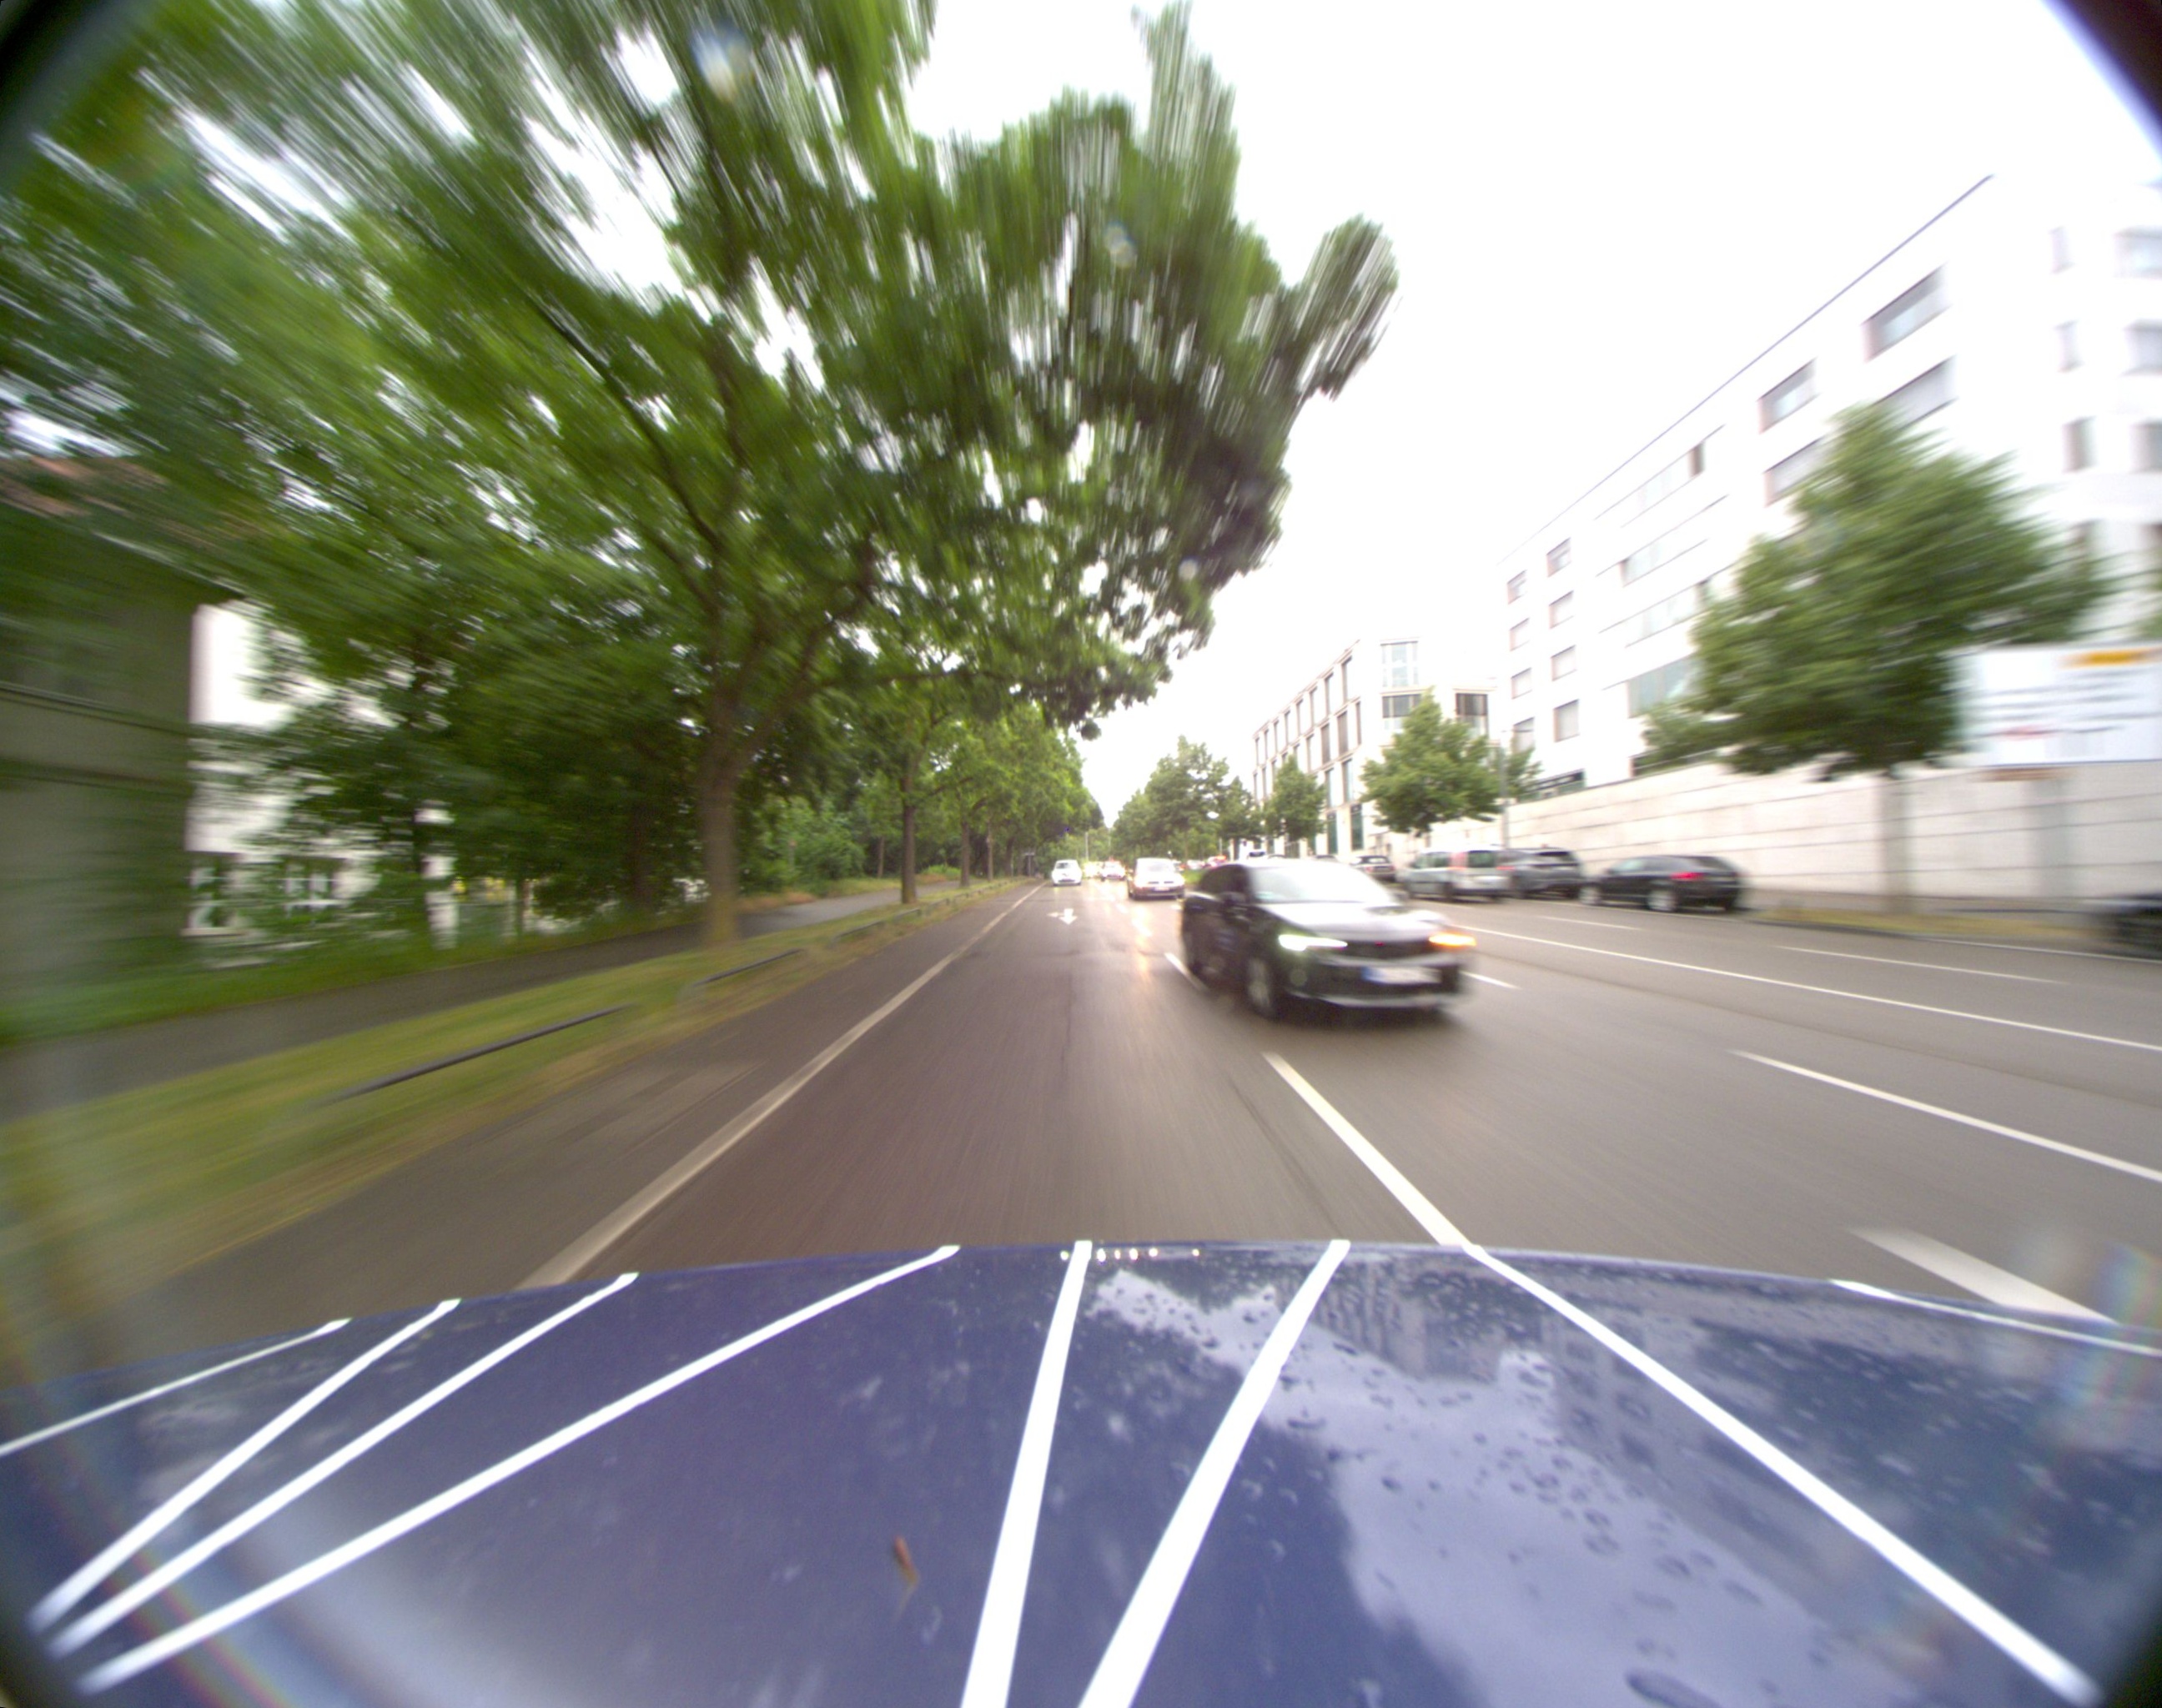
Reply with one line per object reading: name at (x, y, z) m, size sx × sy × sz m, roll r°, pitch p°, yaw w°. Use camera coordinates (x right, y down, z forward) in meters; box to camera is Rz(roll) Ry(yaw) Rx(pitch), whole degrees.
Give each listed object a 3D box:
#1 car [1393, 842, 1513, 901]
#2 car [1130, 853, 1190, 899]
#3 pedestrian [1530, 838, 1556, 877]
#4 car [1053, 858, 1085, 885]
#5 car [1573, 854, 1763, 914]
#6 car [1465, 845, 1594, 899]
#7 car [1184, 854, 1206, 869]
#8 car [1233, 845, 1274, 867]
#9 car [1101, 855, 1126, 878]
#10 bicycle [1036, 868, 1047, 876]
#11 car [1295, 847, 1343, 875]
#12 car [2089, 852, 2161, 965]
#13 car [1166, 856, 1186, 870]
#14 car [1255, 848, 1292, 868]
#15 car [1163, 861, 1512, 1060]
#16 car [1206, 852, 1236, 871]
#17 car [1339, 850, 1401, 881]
car at (11.905, 0.535, 24.653) m, size 1.714 × 1.736 × 4.337 m, roll 0°, pitch 0°, yaw -1°
car at (2.890, 0.744, 27.183) m, size 1.903 × 1.431 × 4.002 m, roll -3°, pitch 0°, yaw 8°
pedestrian at (20.927, 0.162, 34.415) m, size 0.720 × 1.764 × 0.691 m, roll -2°, pitch 0°, yaw -1°
car at (-0.750, 1.040, 46.655) m, size 1.645 × 1.512 × 3.577 m, roll -2°, pitch 1°, yaw -5°
car at (14.901, 0.703, 19.625) m, size 1.699 × 1.352 × 4.163 m, roll -1°, pitch 0°, yaw 1°
car at (14.815, 0.532, 25.398) m, size 1.707 × 1.611 × 4.361 m, roll -1°, pitch 1°, yaw 0°
car at (11.858, 0.793, 79.176) m, size 1.645 × 1.402 × 3.998 m, roll -1°, pitch -2°, yaw -1°
car at (14.723, 0.201, 65.202) m, size 2.128 × 1.805 × 5.260 m, roll -2°, pitch -1°, yaw -2°
car at (2.431, 0.916, 55.771) m, size 1.670 × 1.520 × 3.660 m, roll -3°, pitch -3°, yaw 4°
bicycle at (-5.475, 2.495, 105.121) m, size 1.490 × 1.124 × 0.556 m, roll 2°, pitch -1°, yaw -7°
car at (14.620, 0.389, 46.904) m, size 1.699 × 1.572 × 4.016 m, roll -2°, pitch 1°, yaw 0°
car at (14.832, 0.700, 8.557) m, size 1.683 × 1.418 × 3.965 m, roll -2°, pitch 0°, yaw 0°
car at (11.631, 1.092, 93.128) m, size 1.834 × 1.591 × 4.675 m, roll -2°, pitch -1°, yaw 0°
car at (14.602, 0.336, 57.751) m, size 1.699 × 1.376 × 3.698 m, roll -3°, pitch 0°, yaw -2°
car at (2.284, 0.847, 8.211) m, size 1.805 × 1.422 × 4.517 m, roll -2°, pitch 0°, yaw -6°
car at (12.003, 0.641, 65.313) m, size 1.699 × 1.572 × 4.017 m, roll -3°, pitch 0°, yaw -1°
car at (14.821, 0.567, 39.160) m, size 1.699 × 1.436 × 3.860 m, roll -3°, pitch 0°, yaw 1°
